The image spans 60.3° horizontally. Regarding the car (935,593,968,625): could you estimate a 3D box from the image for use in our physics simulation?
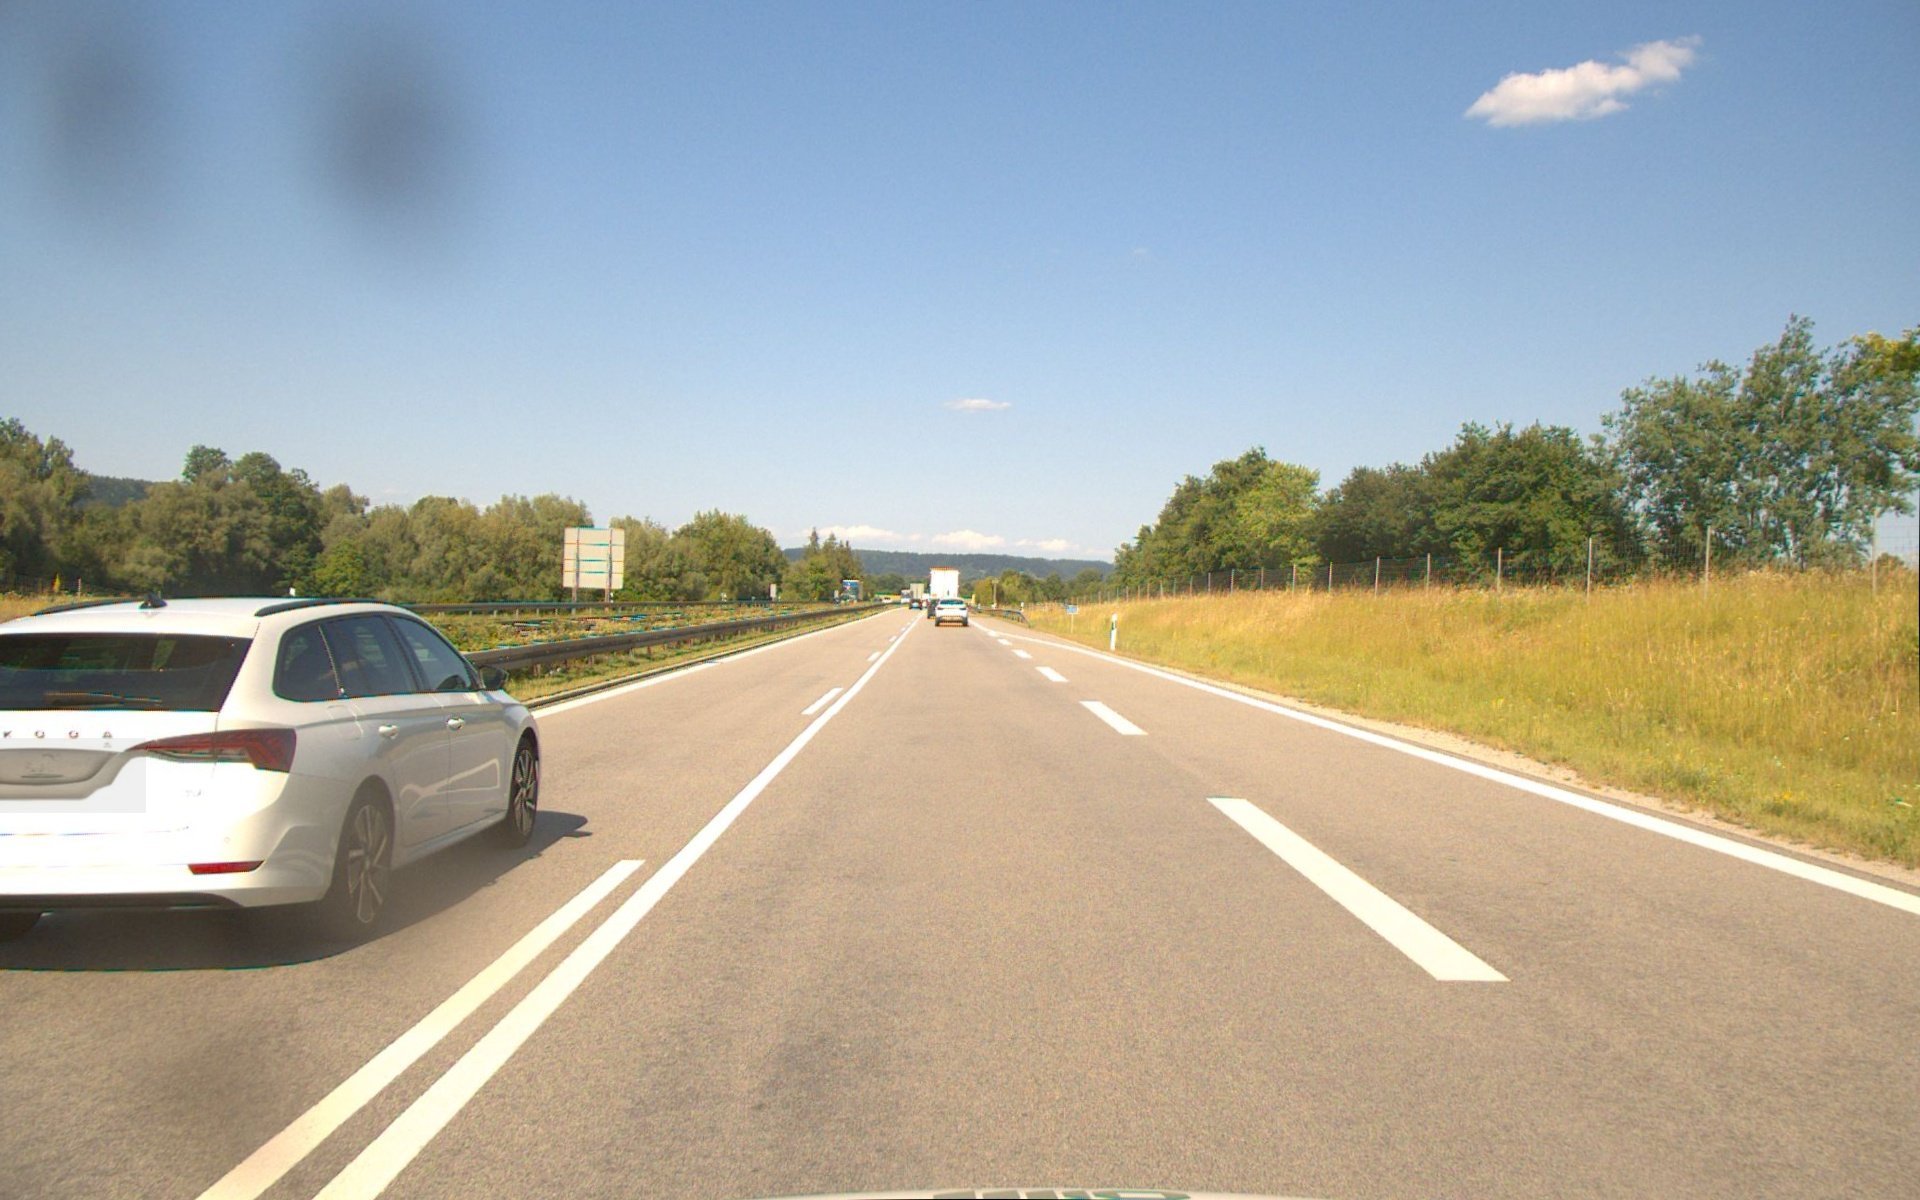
[{"bbox_3d":[-0.475,0.448,88.756,1.651,1.521,4.986,5,1,-1],"label":"car"}]

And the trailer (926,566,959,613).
[{"bbox_3d":[-1.502,-0.951,150.347,2.761,4.036,14.159,1,0,0],"label":"trailer"}]

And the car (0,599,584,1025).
[{"bbox_3d":[-3.371,0.728,8.308,1.803,1.446,5.254,0,0,-1],"label":"car"}]

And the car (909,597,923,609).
[{"bbox_3d":[-5.931,0.380,223.301,1.735,1.446,4.494,3,0,0],"label":"car"}]

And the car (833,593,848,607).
[{"bbox_3d":[-16.442,-0.012,227.246,1.812,1.835,4.870,-1,2,-1],"label":"car"}]

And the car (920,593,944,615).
[{"bbox_3d":[-2.028,0.268,121.571,1.631,1.480,4.543,3,0,-1],"label":"car"}]
